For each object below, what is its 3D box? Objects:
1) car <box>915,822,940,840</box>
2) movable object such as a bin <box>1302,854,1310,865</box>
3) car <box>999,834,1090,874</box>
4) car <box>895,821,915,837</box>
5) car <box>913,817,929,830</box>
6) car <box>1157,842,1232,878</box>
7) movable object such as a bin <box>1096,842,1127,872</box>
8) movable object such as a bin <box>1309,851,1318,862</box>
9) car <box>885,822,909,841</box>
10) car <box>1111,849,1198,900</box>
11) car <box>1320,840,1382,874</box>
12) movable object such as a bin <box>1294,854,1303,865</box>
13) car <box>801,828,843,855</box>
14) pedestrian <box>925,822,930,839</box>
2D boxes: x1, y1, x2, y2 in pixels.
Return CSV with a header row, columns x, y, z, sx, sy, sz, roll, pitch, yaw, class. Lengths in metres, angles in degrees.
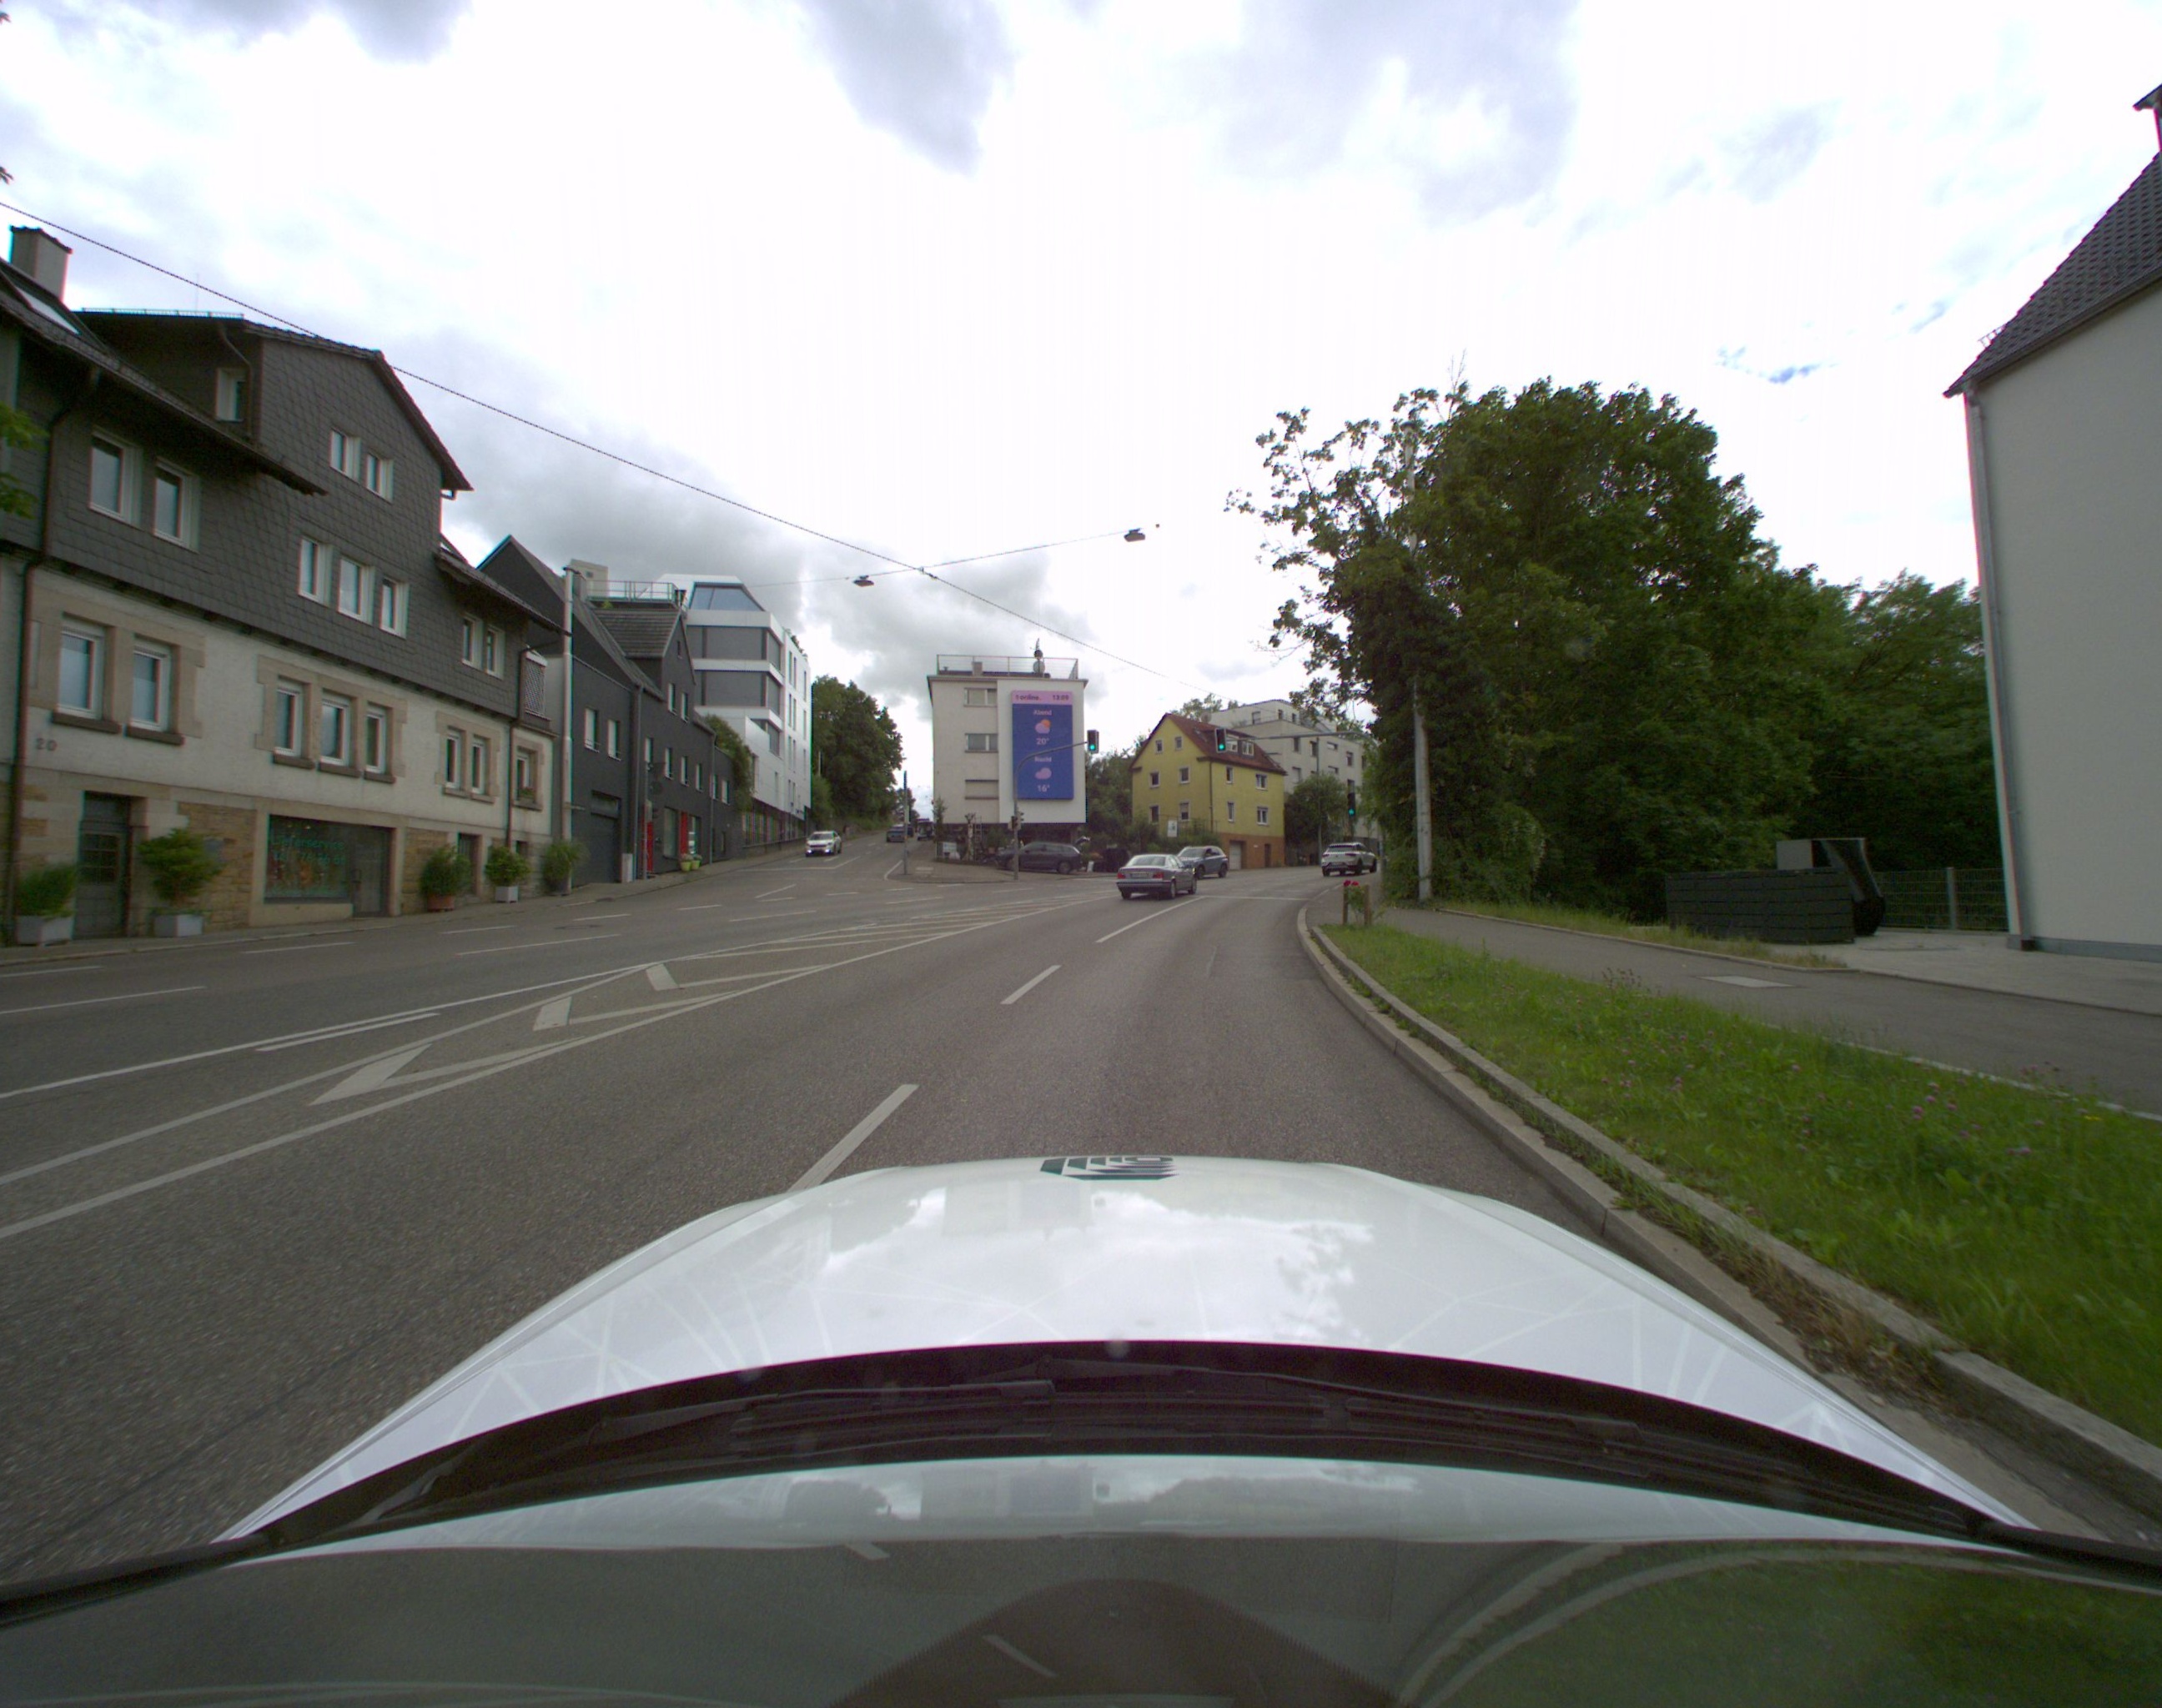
x,y,z,sx,sy,sz,roll,pitch,yaw,class
-14.761,-2.201,78.309,2.087,1.613,3.991,0,0,-7,car
18.023,0.435,65.195,0.562,0.885,0.614,0,1,26,movable object such as a bin
-2.036,-0.028,44.171,4.685,1.712,2.313,4,3,-8,car
-18.544,-2.661,86.014,1.779,1.578,3.990,0,2,-8,car
-20.429,-3.913,103.929,1.779,1.578,3.990,0,2,-8,car
5.683,0.280,40.298,1.877,1.695,4.375,-1,0,35,car
1.868,0.174,49.800,1.754,1.779,1.857,-1,0,5,movable object such as a bin
18.613,0.171,65.229,0.562,0.885,0.614,0,1,26,movable object such as a bin
-16.583,-2.066,73.674,1.779,1.578,3.990,0,2,-8,car
2.444,0.590,26.092,1.692,1.464,4.021,1,1,21,car
13.191,0.129,39.716,1.762,1.579,4.026,0,0,35,car
17.658,0.418,66.110,0.562,0.885,0.614,0,1,26,movable object such as a bin
-16.798,-0.861,53.076,1.882,1.567,4.378,-1,3,-8,car
-14.335,-2.196,76.176,0.457,1.529,0.526,0,-1,-7,pedestrian
